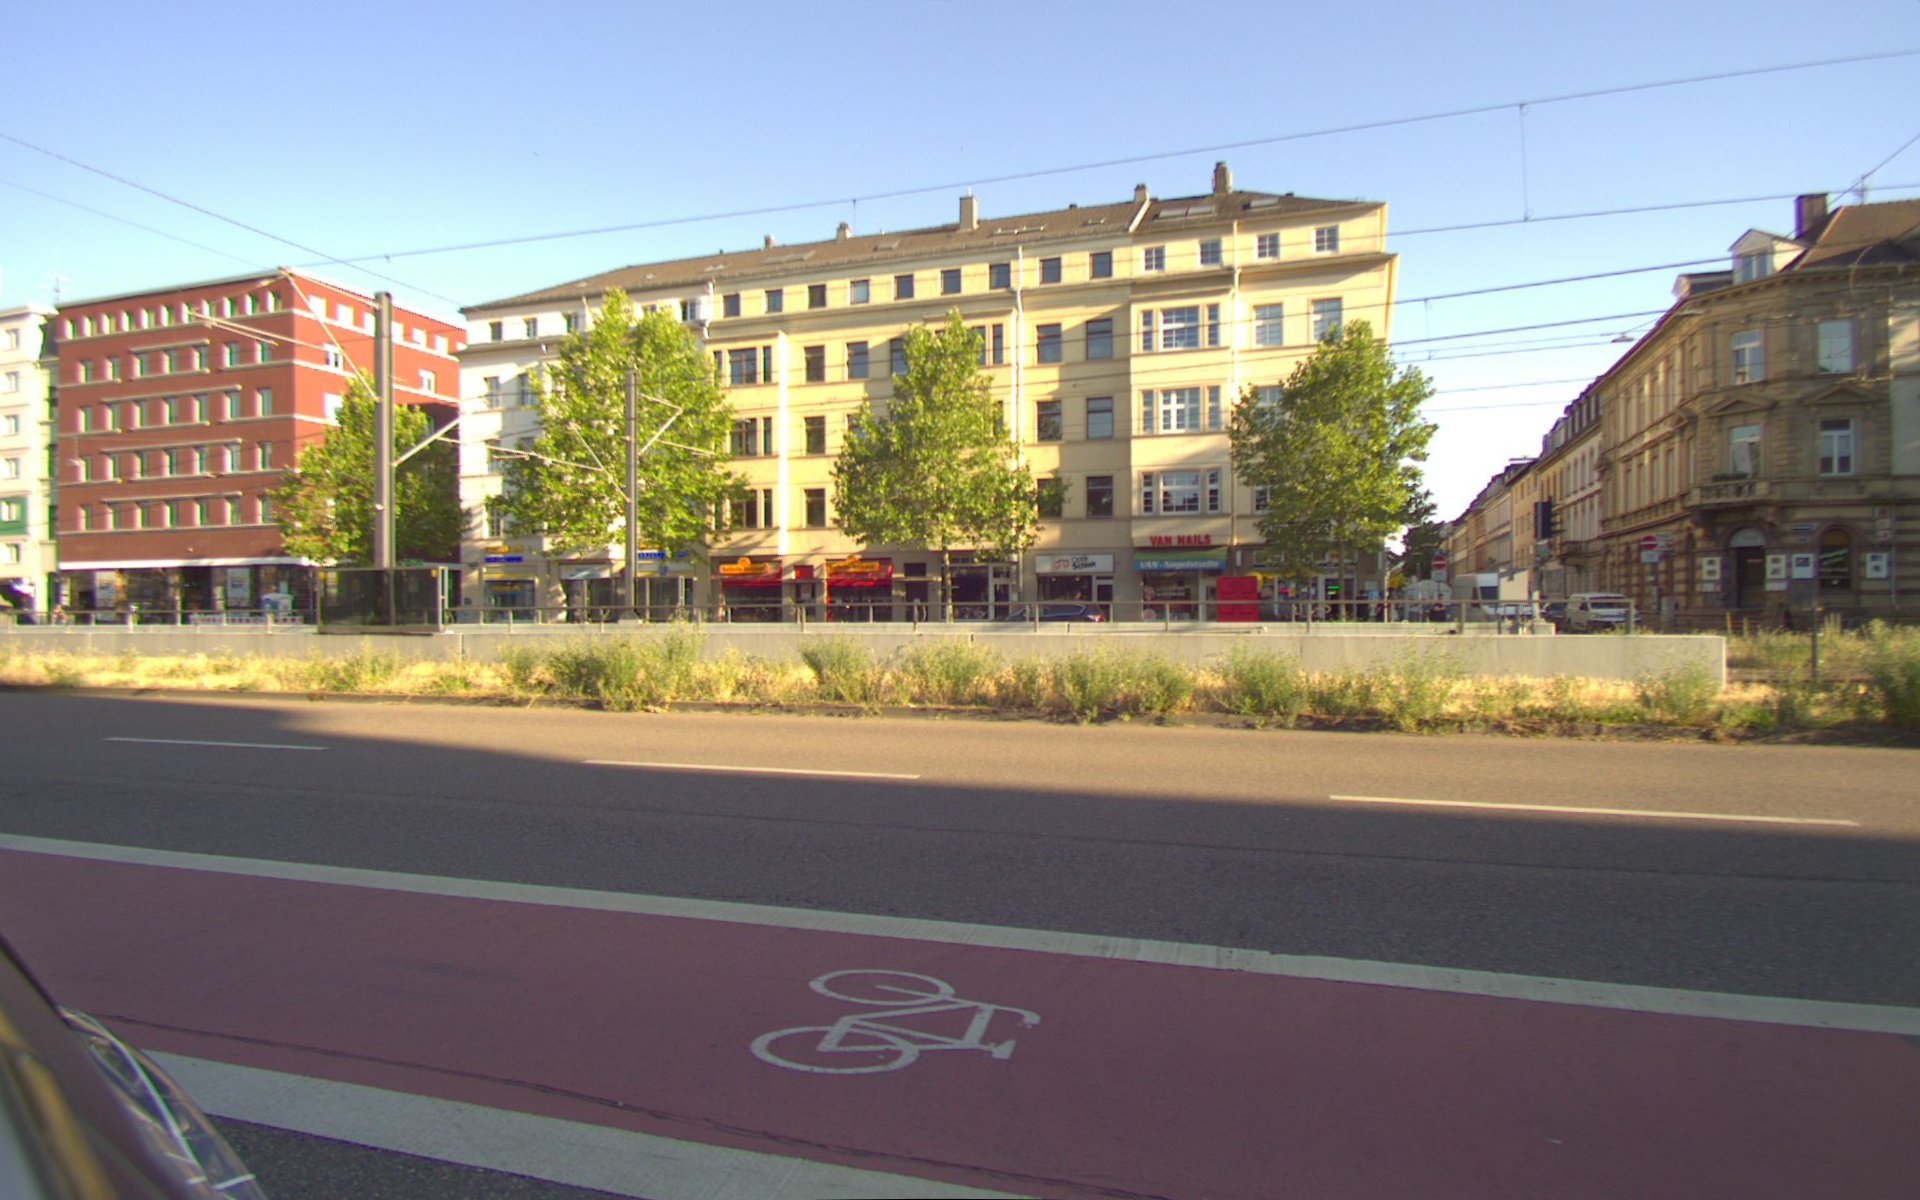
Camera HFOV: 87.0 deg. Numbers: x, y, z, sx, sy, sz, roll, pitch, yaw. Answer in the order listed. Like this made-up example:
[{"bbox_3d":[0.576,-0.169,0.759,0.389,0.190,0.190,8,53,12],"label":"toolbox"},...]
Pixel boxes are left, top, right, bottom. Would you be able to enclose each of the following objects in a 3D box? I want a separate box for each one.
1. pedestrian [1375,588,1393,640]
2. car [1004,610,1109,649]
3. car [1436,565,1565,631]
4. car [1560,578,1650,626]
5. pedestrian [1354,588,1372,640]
[{"bbox_3d":[16.051,0.538,38.305,0.581,1.933,0.629,0,2,20],"label":"pedestrian"},{"bbox_3d":[3.609,1.067,37.888,3.681,1.342,1.450,0,2,20],"label":"car"},{"bbox_3d":[20.600,-0.030,39.022,2.445,2.284,7.262,-1,0,13],"label":"car"},{"bbox_3d":[27.156,0.094,42.782,1.969,1.901,4.673,-1,0,16],"label":"car"},{"bbox_3d":[15.454,0.530,38.782,0.583,1.933,0.626,0,2,29],"label":"pedestrian"}]
